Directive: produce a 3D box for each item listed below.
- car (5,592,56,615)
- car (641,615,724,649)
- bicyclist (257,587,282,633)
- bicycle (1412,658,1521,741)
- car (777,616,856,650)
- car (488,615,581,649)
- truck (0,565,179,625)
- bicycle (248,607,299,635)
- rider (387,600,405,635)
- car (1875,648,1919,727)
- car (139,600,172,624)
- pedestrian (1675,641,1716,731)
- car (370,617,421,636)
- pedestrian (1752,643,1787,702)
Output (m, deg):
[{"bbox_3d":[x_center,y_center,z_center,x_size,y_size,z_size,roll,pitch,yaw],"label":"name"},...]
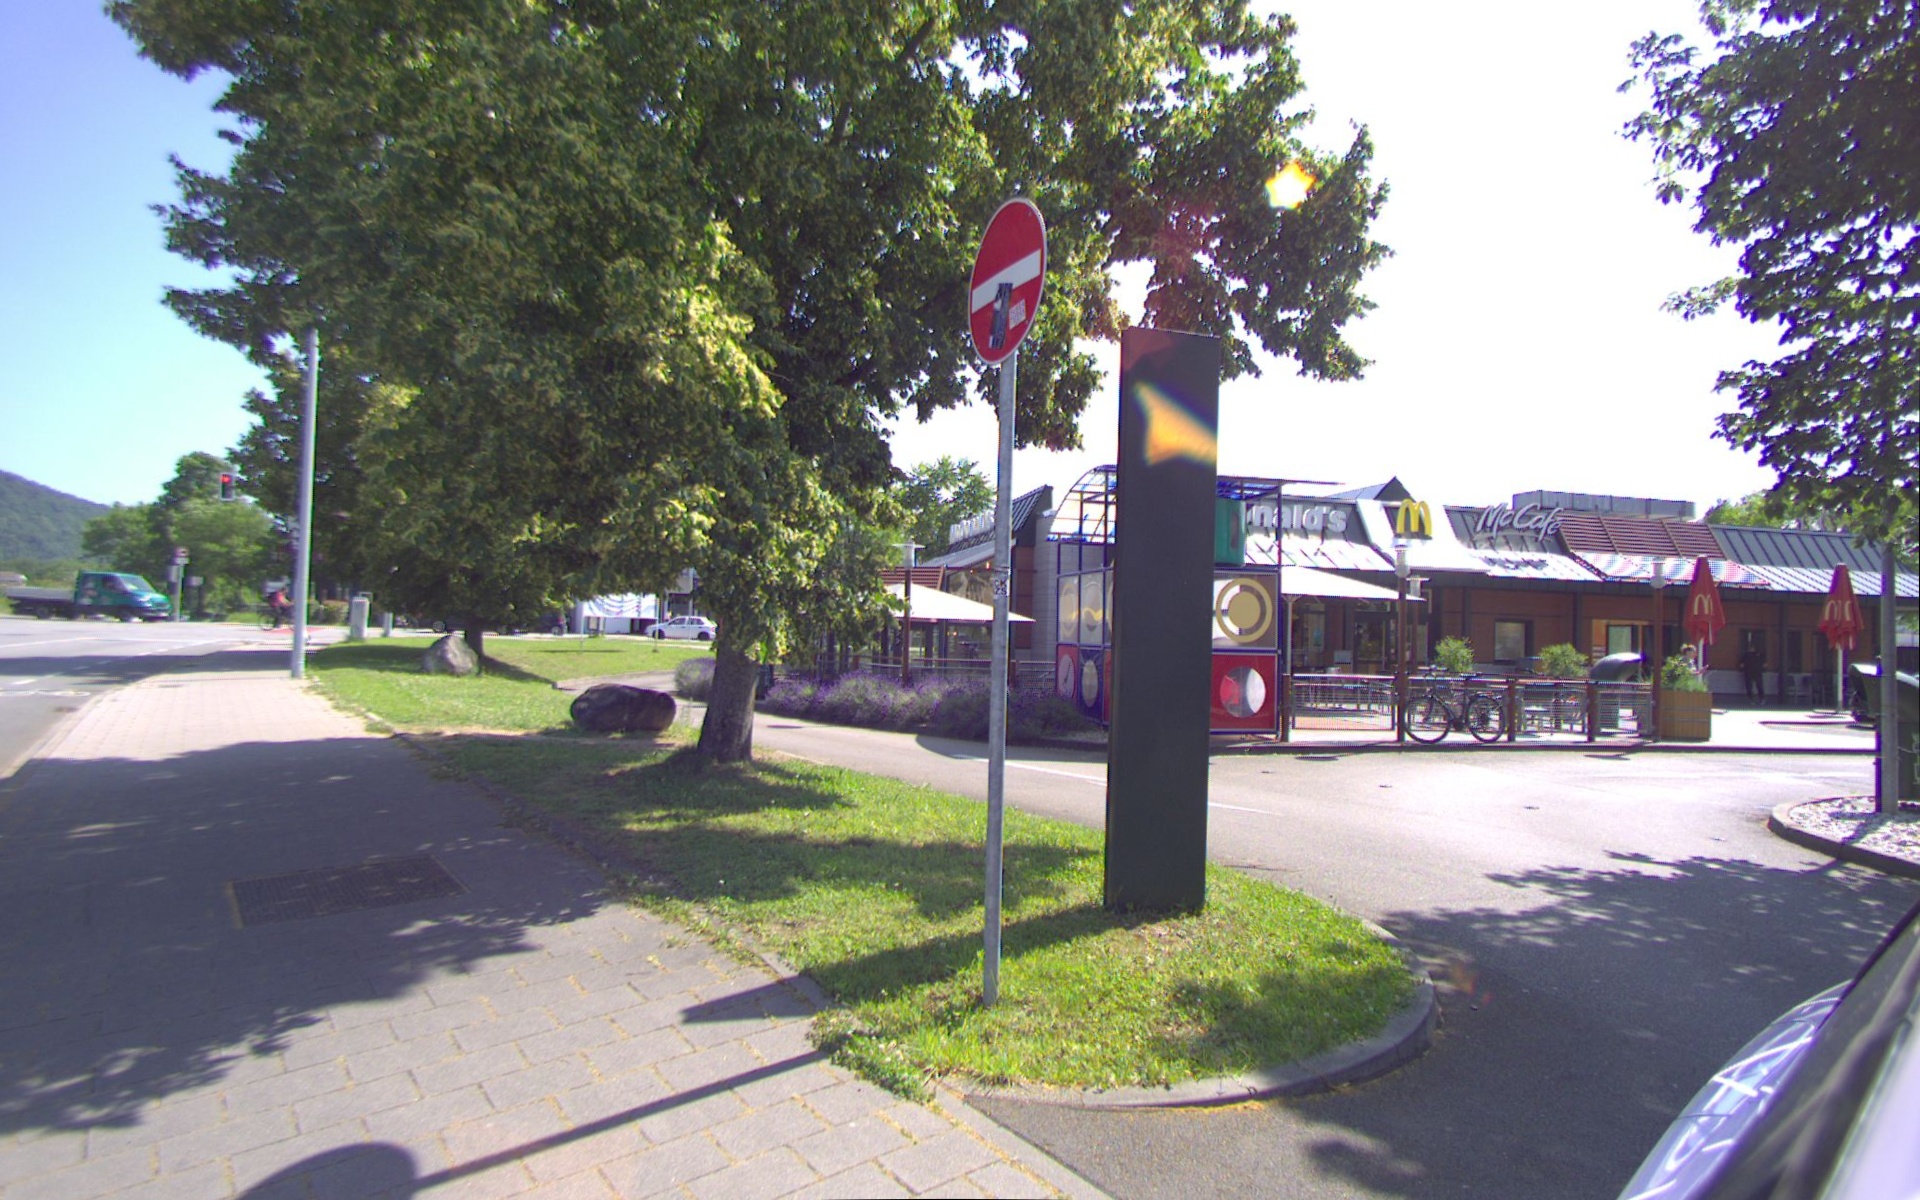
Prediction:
[{"bbox_3d":[-55.347,0.229,60.305,1.579,1.271,3.684,3,-2,-33],"label":"car"},{"bbox_3d":[-15.356,1.764,56.271,4.279,1.646,1.836,3,1,-12],"label":"car"},{"bbox_3d":[-29.328,0.421,42.981,0.643,1.920,0.553,3,0,-11],"label":"bicyclist"},{"bbox_3d":[7.640,1.490,15.273,1.579,1.201,0.310,0,0,-9],"label":"bicycle"},{"bbox_3d":[-8.148,1.869,57.362,4.279,1.646,1.836,3,1,-12],"label":"car"},{"bbox_3d":[-22.719,1.699,54.203,4.279,1.509,1.836,3,1,-12],"label":"car"},{"bbox_3d":[-39.977,-0.197,46.269,6.254,2.406,2.388,3,-3,-13],"label":"truck"},{"bbox_3d":[-29.173,0.892,43.019,1.690,1.056,0.584,3,0,-11],"label":"bicycle"},{"bbox_3d":[-30.796,0.957,55.247,0.671,1.836,0.549,3,1,-12],"label":"rider"},{"bbox_3d":[22.285,1.955,21.601,3.981,1.679,1.927,1,-2,40],"label":"car"},{"bbox_3d":[-55.235,0.791,69.462,1.582,1.555,3.677,4,-2,-41],"label":"car"},{"bbox_3d":[13.443,1.550,18.489,0.593,1.587,0.564,0,-2,37],"label":"pedestrian"},{"bbox_3d":[-30.808,1.424,55.249,2.333,0.913,0.577,3,1,-12],"label":"car"},{"bbox_3d":[23.676,2.123,29.600,0.610,1.673,0.543,3,-2,-12],"label":"pedestrian"}]
